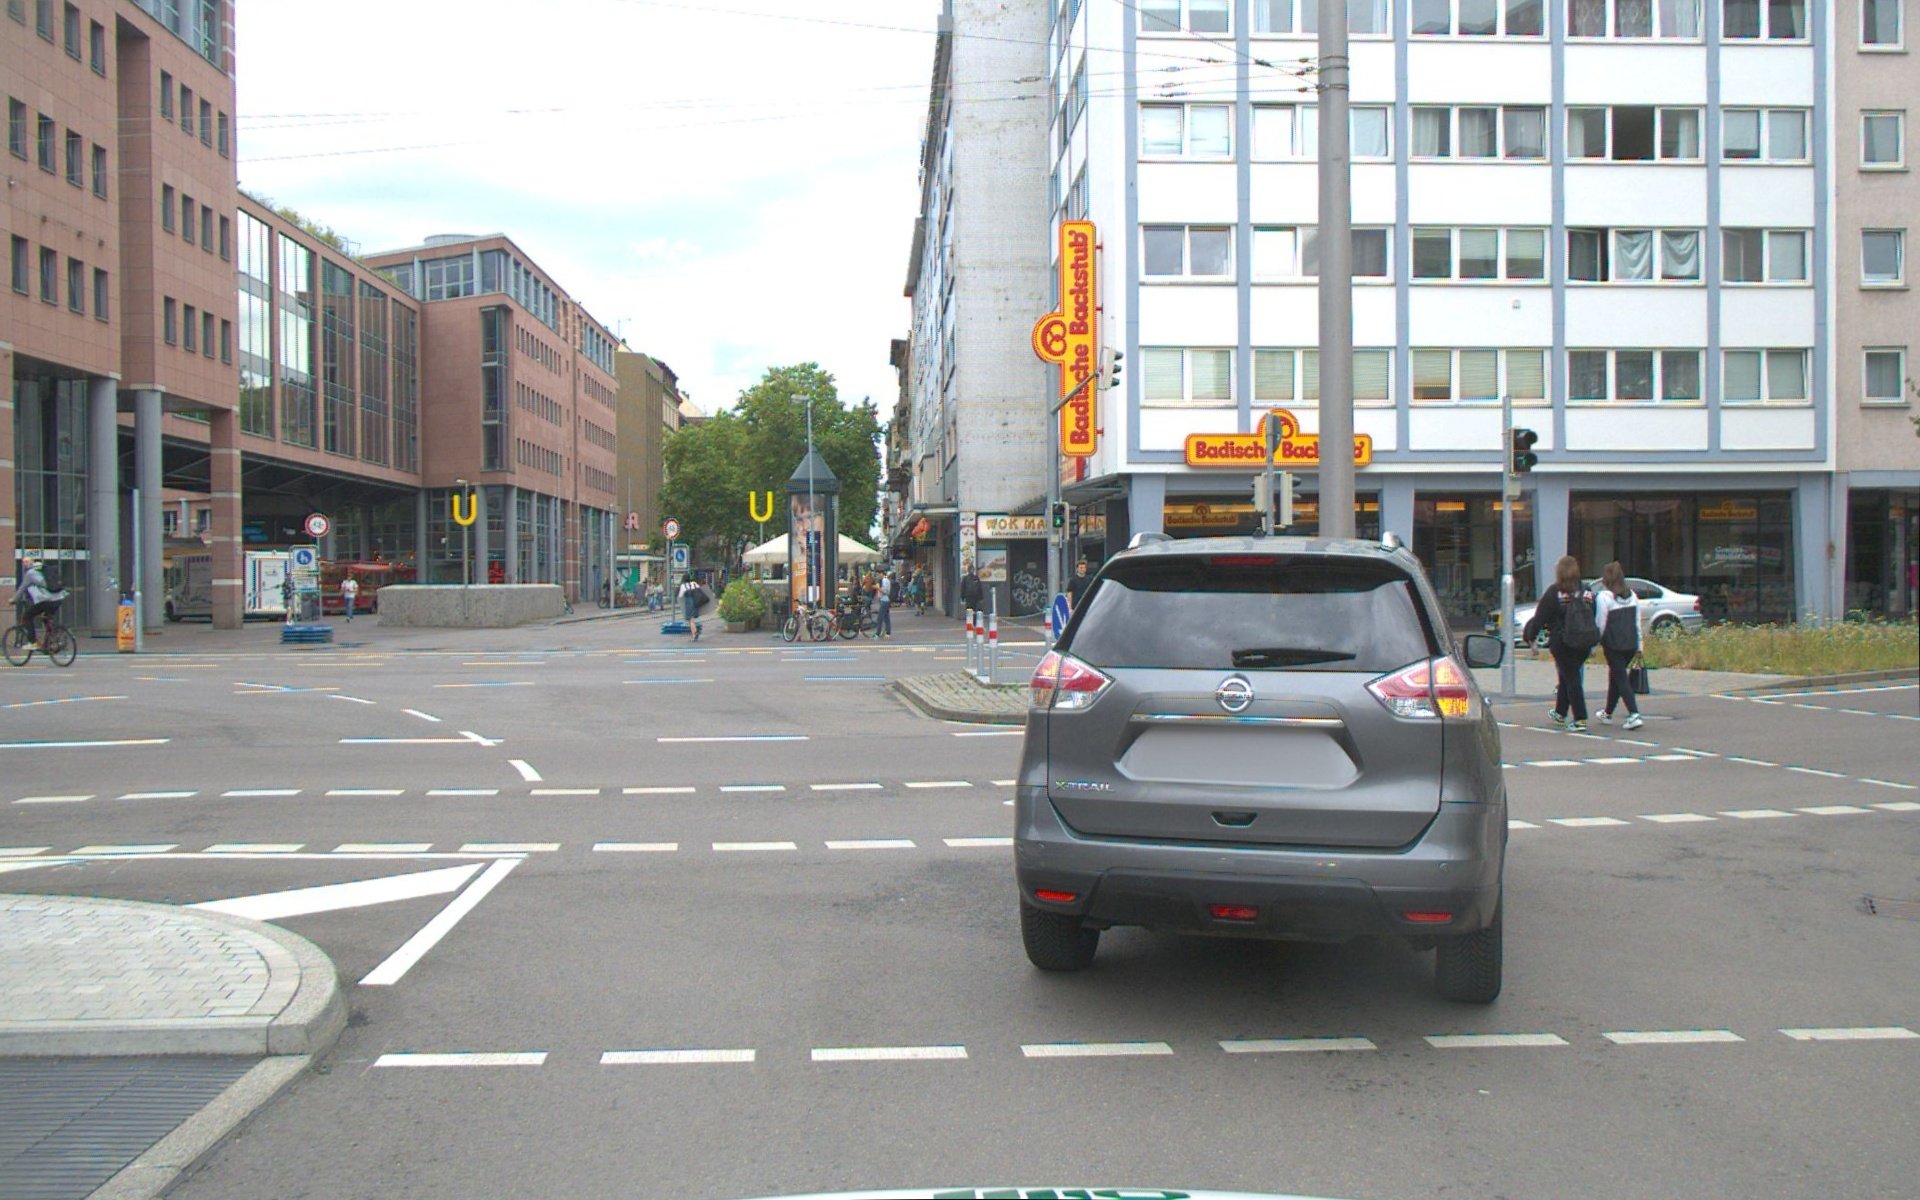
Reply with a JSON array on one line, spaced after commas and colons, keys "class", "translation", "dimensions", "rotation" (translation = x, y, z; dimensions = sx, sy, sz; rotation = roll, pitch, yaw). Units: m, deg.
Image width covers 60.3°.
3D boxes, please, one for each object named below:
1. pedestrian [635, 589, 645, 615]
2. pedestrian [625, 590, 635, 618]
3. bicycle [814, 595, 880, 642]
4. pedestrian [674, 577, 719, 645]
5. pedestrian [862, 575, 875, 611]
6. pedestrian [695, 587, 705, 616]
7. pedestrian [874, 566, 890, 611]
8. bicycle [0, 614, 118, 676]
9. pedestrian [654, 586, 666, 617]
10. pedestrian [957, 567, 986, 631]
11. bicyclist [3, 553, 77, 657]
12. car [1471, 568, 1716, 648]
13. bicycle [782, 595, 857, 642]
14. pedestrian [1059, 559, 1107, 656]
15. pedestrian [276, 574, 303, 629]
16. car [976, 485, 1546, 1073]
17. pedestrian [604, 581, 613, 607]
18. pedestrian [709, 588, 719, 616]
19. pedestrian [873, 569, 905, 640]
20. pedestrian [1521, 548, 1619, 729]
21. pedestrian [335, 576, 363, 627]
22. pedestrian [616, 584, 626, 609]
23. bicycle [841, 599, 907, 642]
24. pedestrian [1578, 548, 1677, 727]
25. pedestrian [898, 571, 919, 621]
[{"class": "pedestrian", "translation": [-21.353, 0.111, 110.349], "dimensions": [0.589, 1.744, 0.654], "rotation": [0, 0, -10]}, {"class": "pedestrian", "translation": [-20.371, 0.237, 102.142], "dimensions": [0.589, 1.744, 0.654], "rotation": [0, 0, -10]}, {"class": "bicycle", "translation": [-2.943, 0.486, 42.932], "dimensions": [1.665, 1.192, 0.436], "rotation": [0, 0, -10]}, {"class": "pedestrian", "translation": [-6.860, 0.280, 43.098], "dimensions": [0.906, 1.734, 0.735], "rotation": [0, 0, 16]}, {"class": "pedestrian", "translation": [-4.403, -0.338, 79.326], "dimensions": [0.599, 1.734, 0.619], "rotation": [0, 0, -2]}, {"class": "pedestrian", "translation": [-15.977, 0.084, 101.700], "dimensions": [0.589, 1.744, 0.654], "rotation": [0, 0, -10]}, {"class": "pedestrian", "translation": [-3.054, -0.456, 64.928], "dimensions": [0.630, 1.734, 0.559], "rotation": [0, 0, -2]}, {"class": "bicycle", "translation": [-16.799, 0.792, 30.106], "dimensions": [3.203, 1.063, 0.904], "rotation": [0, 0, 27]}, {"class": "pedestrian", "translation": [-15.319, 0.086, 84.478], "dimensions": [0.589, 1.563, 0.654], "rotation": [0, 0, -10]}, {"class": "pedestrian", "translation": [0.321, -0.036, 45.601], "dimensions": [0.695, 1.734, 0.735], "rotation": [0, 0, 9]}, {"class": "bicyclist", "translation": [-16.632, 0.077, 29.894], "dimensions": [0.858, 1.844, 0.836], "rotation": [1, 0, 27]}, {"class": "car", "translation": [13.158, 0.155, 34.466], "dimensions": [4.464, 1.507, 1.746], "rotation": [-1, 0, -6]}, {"class": "bicycle", "translation": [-3.590, 0.464, 42.155], "dimensions": [1.838, 1.192, 0.528], "rotation": [0, 0, -18]}, {"class": "pedestrian", "translation": [2.427, 0.144, 32.602], "dimensions": [0.700, 1.864, 1.014], "rotation": [0, 0, -11]}, {"class": "pedestrian", "translation": [-23.084, 0.042, 56.923], "dimensions": [0.687, 1.874, 0.733], "rotation": [0, 0, -6]}, {"class": "car", "translation": [1.590, 0.524, 7.532], "dimensions": [1.824, 1.806, 4.570], "rotation": [0, 1, 17]}, {"class": "pedestrian", "translation": [-23.939, -0.397, 112.714], "dimensions": [0.589, 1.744, 0.654], "rotation": [0, 0, -10]}, {"class": "pedestrian", "translation": [-15.158, 0.127, 101.903], "dimensions": [0.589, 1.744, 0.654], "rotation": [0, 0, -10]}, {"class": "pedestrian", "translation": [-1.796, 0.106, 42.017], "dimensions": [0.719, 1.776, 0.661], "rotation": [0, 0, -11]}, {"class": "pedestrian", "translation": [6.190, 0.381, 16.809], "dimensions": [0.610, 1.792, 0.778], "rotation": [0, 0, -11]}, {"class": "pedestrian", "translation": [-22.690, 0.049, 61.431], "dimensions": [0.685, 1.874, 0.735], "rotation": [0, 0, 16]}, {"class": "pedestrian", "translation": [-23.126, -0.241, 112.823], "dimensions": [0.589, 1.744, 0.654], "rotation": [0, 0, -10]}, {"class": "bicycle", "translation": [-2.203, 0.517, 42.369], "dimensions": [1.660, 1.084, 0.437], "rotation": [0, 0, 3]}, {"class": "pedestrian", "translation": [6.823, 0.371, 16.930], "dimensions": [0.610, 1.792, 0.778], "rotation": [0, 0, -11]}, {"class": "pedestrian", "translation": [-1.918, -0.157, 61.431], "dimensions": [0.723, 1.853, 0.661], "rotation": [-1, 0, -6]}]
